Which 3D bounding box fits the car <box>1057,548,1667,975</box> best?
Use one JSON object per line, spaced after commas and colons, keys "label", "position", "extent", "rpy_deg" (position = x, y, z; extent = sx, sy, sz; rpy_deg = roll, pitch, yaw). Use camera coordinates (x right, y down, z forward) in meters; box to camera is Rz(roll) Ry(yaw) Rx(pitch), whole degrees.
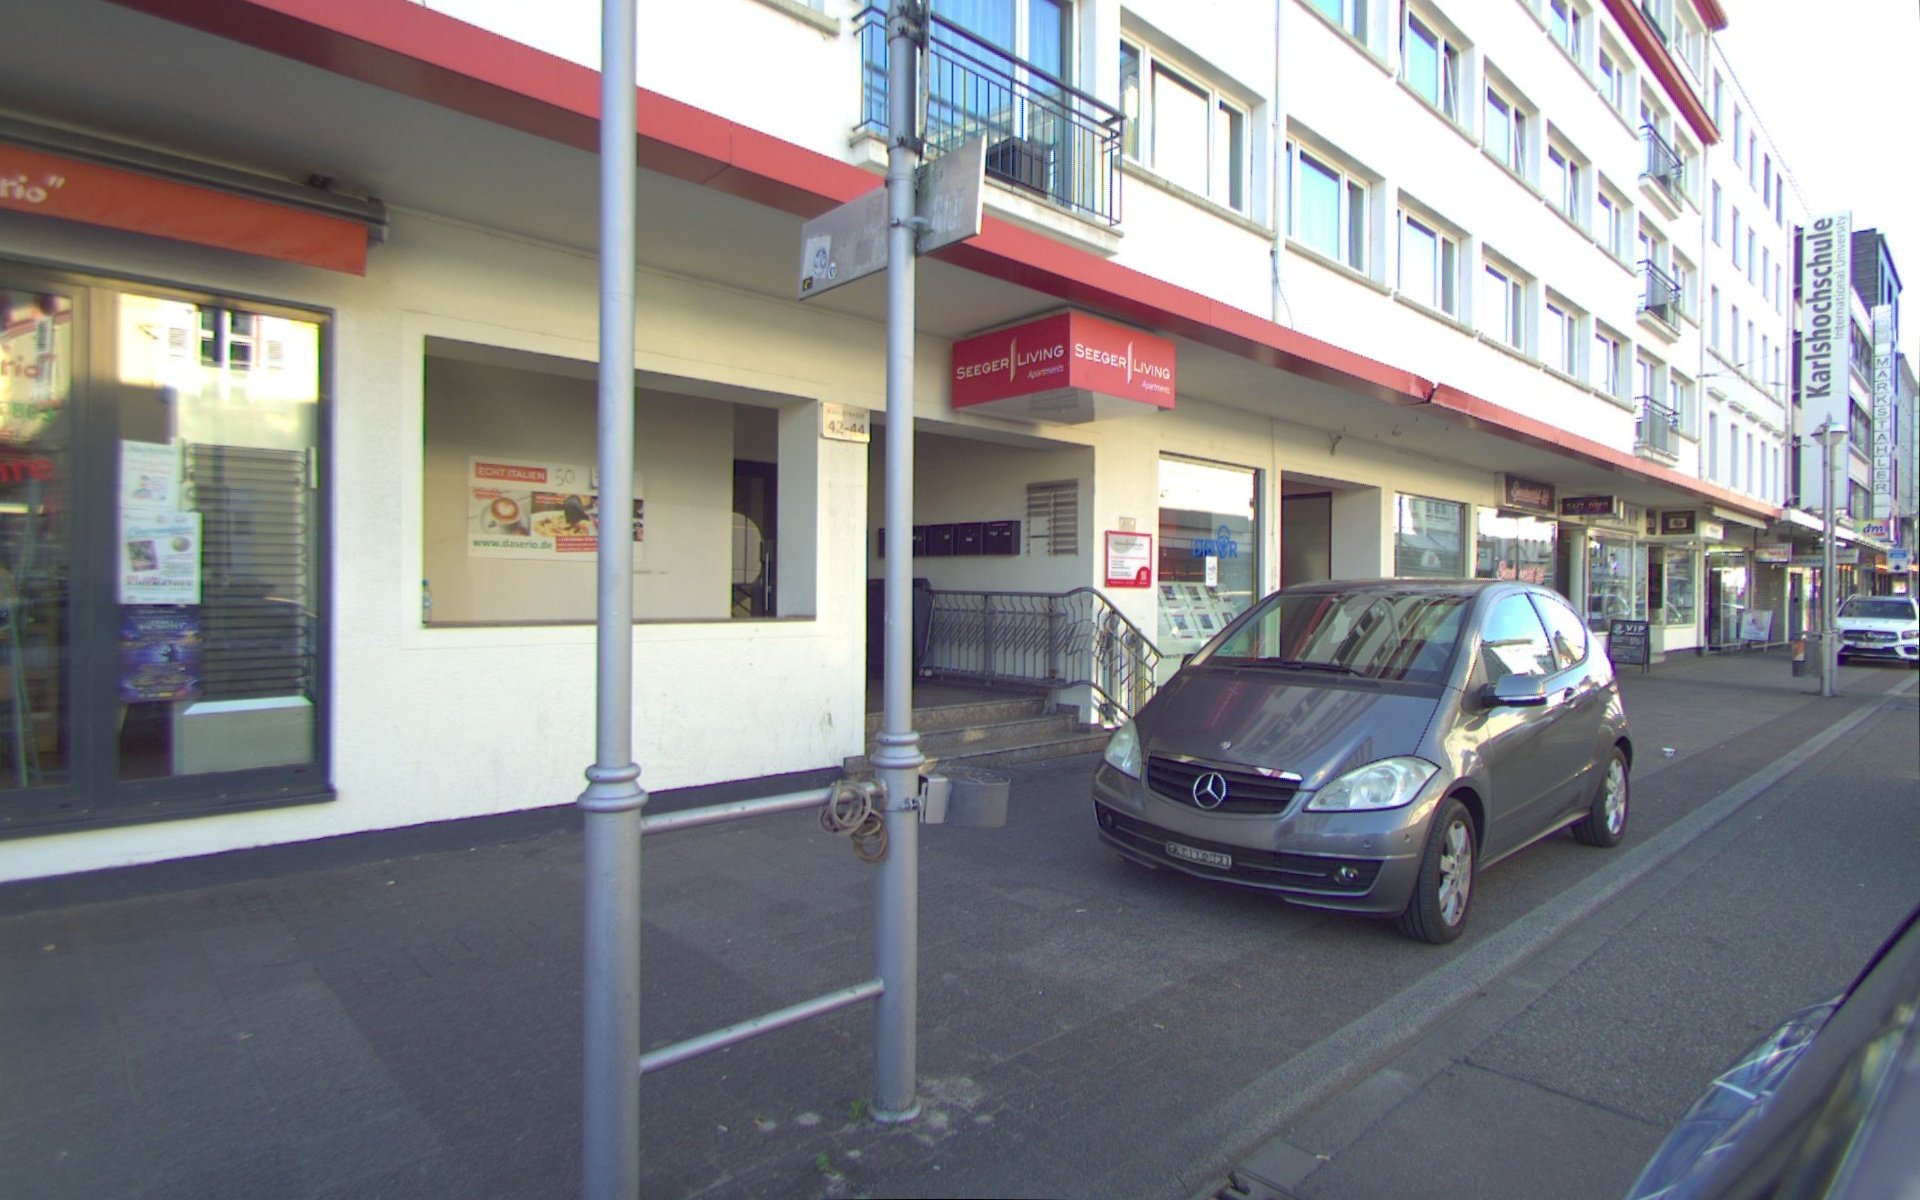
{"label": "car", "position": [2.475, 0.596, 5.685], "extent": [3.932, 1.565, 1.681], "rpy_deg": [0, 0, -43]}

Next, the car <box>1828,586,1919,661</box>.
{"label": "car", "position": [22.375, 0.519, 24.341], "extent": [1.994, 1.650, 3.935], "rpy_deg": [1, 1, 45]}
